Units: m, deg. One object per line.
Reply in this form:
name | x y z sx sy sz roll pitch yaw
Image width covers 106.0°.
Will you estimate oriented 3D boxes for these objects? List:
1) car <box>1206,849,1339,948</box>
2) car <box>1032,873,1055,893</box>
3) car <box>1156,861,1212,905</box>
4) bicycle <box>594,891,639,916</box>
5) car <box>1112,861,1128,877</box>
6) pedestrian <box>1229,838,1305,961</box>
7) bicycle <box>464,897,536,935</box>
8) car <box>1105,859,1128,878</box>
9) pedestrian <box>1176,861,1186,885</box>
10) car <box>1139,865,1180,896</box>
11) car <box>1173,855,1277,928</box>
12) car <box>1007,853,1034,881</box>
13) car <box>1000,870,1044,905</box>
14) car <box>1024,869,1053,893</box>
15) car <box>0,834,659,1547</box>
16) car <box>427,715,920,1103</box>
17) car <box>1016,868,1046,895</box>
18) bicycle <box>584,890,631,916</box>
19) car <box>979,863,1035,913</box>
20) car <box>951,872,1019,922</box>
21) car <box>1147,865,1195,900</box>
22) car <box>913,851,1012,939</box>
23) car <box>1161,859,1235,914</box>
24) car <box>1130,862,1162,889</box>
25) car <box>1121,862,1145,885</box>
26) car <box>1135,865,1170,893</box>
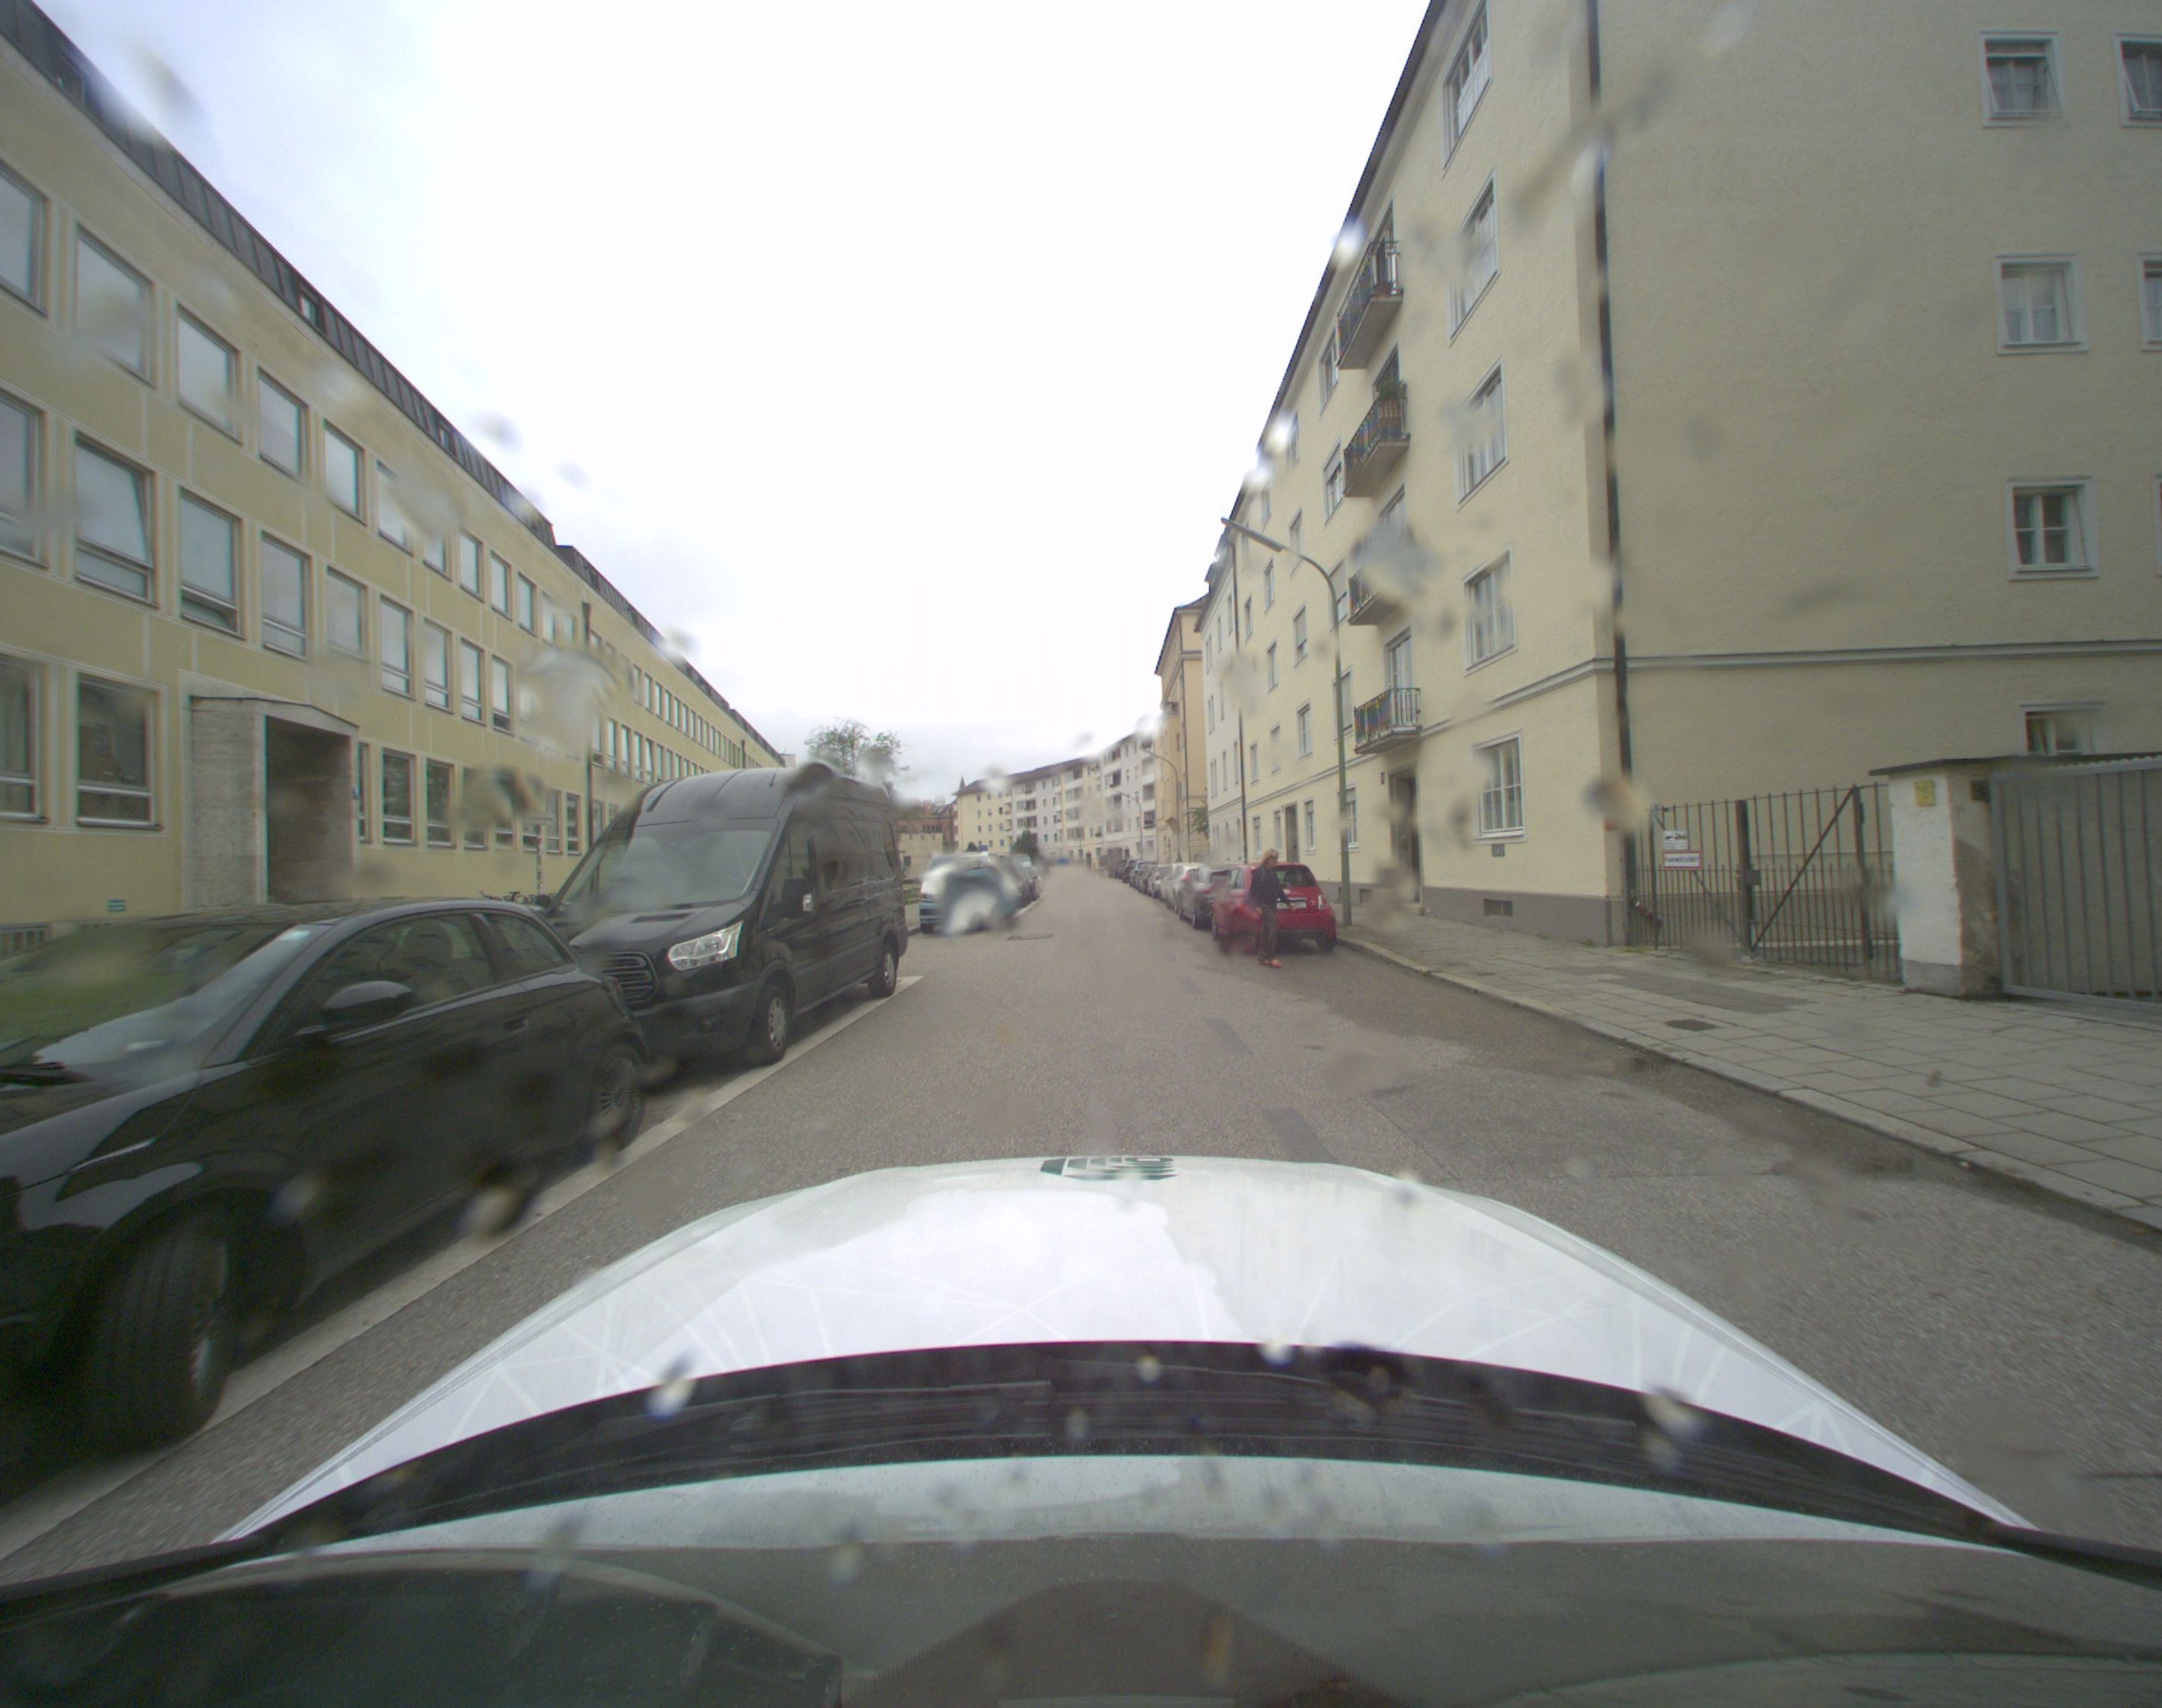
car | 3.335 0.750 14.876 1.589 1.509 3.801 -2 -2 2
car | -2.854 2.207 63.003 1.619 1.419 3.646 -3 -2 -1
car | 3.808 1.062 30.545 1.594 1.491 3.798 -2 -1 0
bicycle | -18.554 1.973 32.557 1.530 0.955 0.364 -1 -2 -15
car | 3.407 1.344 71.777 1.268 1.299 2.796 -2 -2 0
pedestrian | 2.710 0.660 11.888 0.797 1.728 0.667 0 -4 -23
bicycle | -15.540 1.646 21.818 1.530 0.955 0.364 -1 -2 -15
car | 3.340 1.405 76.856 1.601 1.715 3.080 -1 -1 -8
pedestrian | 7.209 1.374 58.567 0.664 1.693 0.690 0 -2 1
car | 3.863 1.292 40.591 1.585 1.433 4.420 -1 -1 0
car | 3.350 0.877 19.729 1.687 1.492 4.342 -3 -2 0
car | -5.924 1.263 79.384 1.775 2.654 3.976 1 -2 -17
car | -2.659 1.492 37.205 1.618 1.412 3.798 -4 -2 0
car | -2.750 1.739 53.269 1.619 1.419 3.979 -3 -2 -1
car | -3.299 0.871 3.212 1.583 1.538 3.536 -5 -3 -6
car | -3.412 0.430 8.406 2.079 2.636 5.380 -2 -1 3
car | -2.912 1.611 48.080 1.619 1.419 3.978 -3 -2 -2
bicycle | -18.097 1.862 31.143 1.530 0.955 0.364 -1 -2 -15
car | -2.811 1.271 31.680 1.696 1.691 4.027 -4 -1 0
car | -3.004 1.330 26.182 1.647 1.373 3.652 -4 -1 0
car | 3.883 1.235 35.622 1.687 1.433 3.943 -1 -2 0
car | -2.981 1.002 21.453 1.877 1.932 4.598 -4 -1 -1
car | 3.604 0.993 25.740 1.687 1.491 4.281 -3 -1 0
car | 3.954 1.303 50.153 1.585 1.582 4.298 -1 -1 0
car | 3.799 1.445 60.101 1.469 1.641 4.000 -1 -1 0
car | 3.925 1.369 45.193 1.585 1.433 3.824 -1 -1 0
